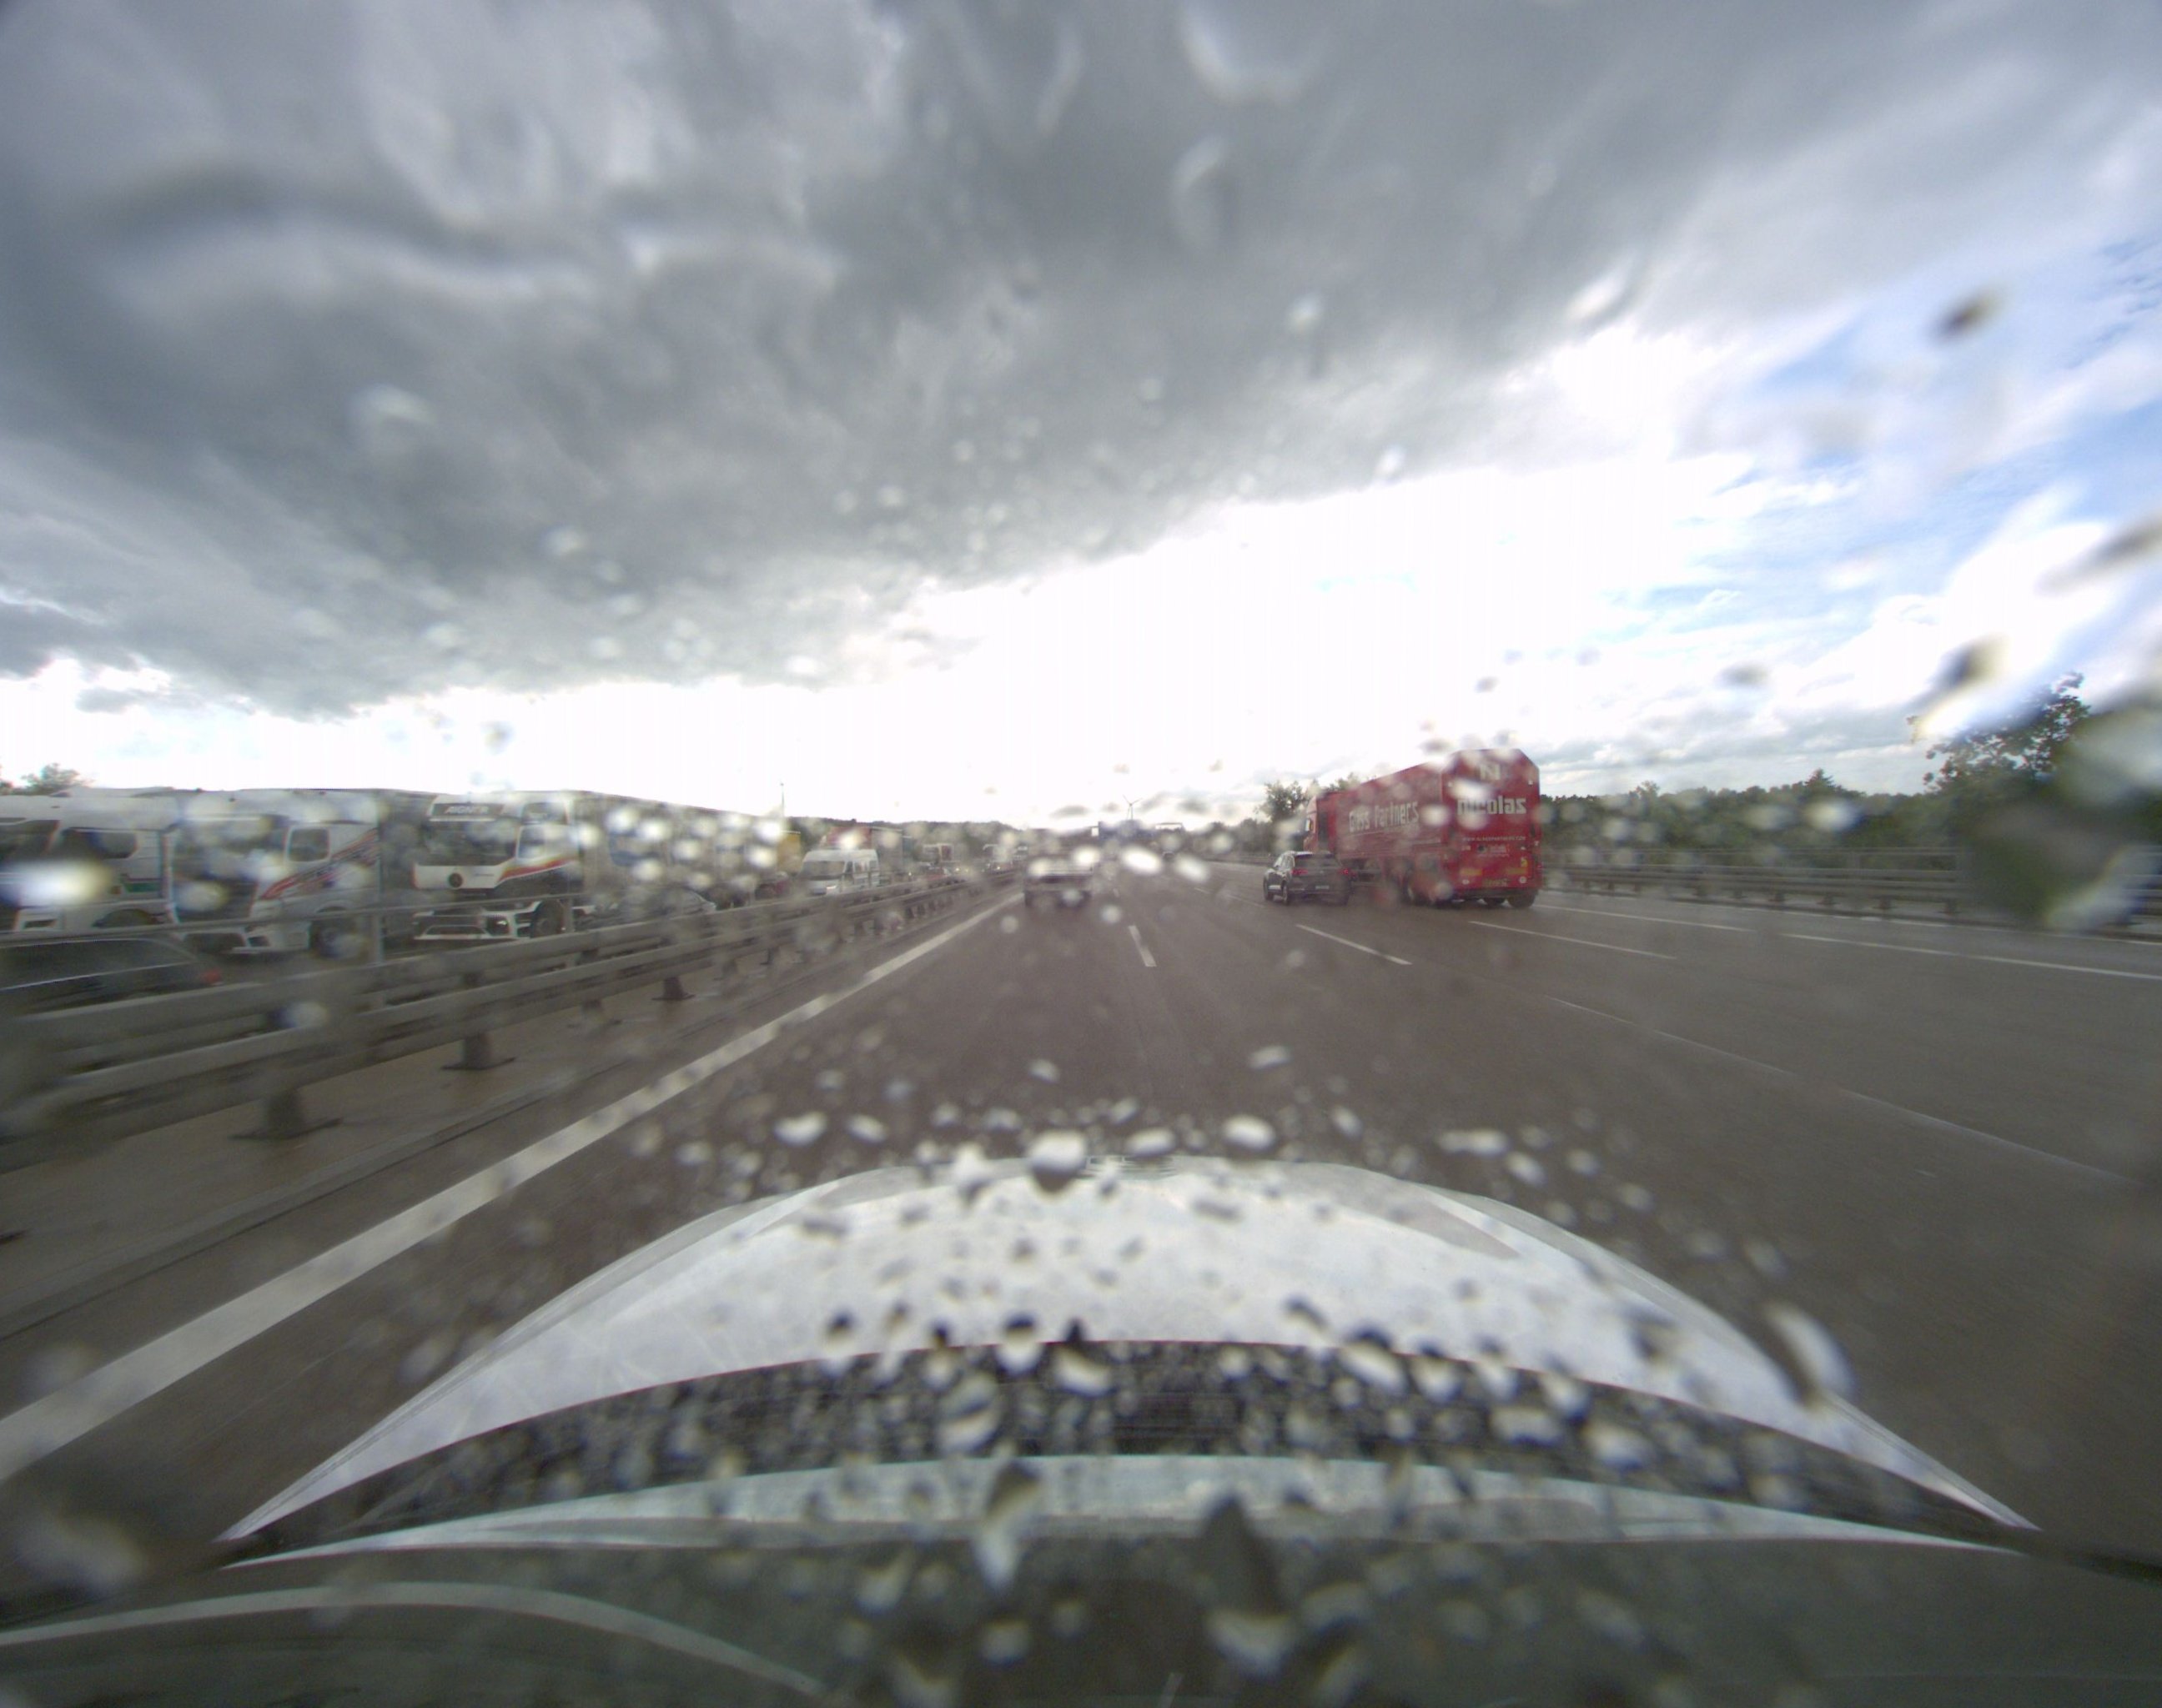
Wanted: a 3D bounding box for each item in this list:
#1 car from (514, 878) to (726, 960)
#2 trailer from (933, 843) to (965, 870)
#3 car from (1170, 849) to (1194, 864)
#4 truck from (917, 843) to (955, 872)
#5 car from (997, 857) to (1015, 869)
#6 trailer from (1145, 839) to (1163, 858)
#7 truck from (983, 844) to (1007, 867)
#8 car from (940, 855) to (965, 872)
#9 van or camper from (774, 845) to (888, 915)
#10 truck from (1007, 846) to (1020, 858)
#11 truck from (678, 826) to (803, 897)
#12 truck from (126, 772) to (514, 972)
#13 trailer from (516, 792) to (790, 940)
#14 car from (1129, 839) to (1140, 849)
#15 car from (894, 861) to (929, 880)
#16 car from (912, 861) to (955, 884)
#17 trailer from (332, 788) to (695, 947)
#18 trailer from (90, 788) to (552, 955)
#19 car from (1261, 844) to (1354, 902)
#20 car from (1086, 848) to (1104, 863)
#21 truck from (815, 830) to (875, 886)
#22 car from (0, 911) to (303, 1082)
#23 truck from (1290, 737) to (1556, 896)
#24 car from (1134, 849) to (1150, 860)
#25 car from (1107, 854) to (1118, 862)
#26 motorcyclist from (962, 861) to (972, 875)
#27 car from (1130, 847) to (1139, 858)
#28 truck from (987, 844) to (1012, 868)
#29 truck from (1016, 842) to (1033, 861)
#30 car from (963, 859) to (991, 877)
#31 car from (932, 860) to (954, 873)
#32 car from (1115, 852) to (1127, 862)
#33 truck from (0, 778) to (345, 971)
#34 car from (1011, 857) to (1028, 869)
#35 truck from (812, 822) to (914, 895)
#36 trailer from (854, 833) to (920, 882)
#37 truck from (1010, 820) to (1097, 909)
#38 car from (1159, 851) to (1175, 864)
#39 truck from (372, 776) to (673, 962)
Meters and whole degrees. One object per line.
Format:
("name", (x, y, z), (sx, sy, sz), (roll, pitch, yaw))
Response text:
("car", (-10.436, 1.397, 19.040), (1.916, 1.419, 5.165), (-2, 0, 1))
("trailer", (-20.362, 0.367, 126.409), (3.206, 3.959, 8.854), (-1, 0, 2))
("car", (12.013, 0.283, 97.082), (2.099, 1.605, 5.064), (-1, 0, -1))
("truck", (-20.735, 0.452, 116.853), (3.213, 3.910, 10.287), (-1, 0, 2))
("car", (-8.858, 1.040, 96.650), (1.567, 1.354, 4.386), (-2, 0, 2))
("trailer", (16.025, -1.181, 179.174), (3.319, 4.175, 11.846), (-1, 0, 3))
("truck", (-14.867, 0.279, 141.199), (3.187, 3.933, 7.578), (-1, 0, 2))
("car", (-13.199, 0.984, 83.882), (1.758, 1.624, 4.779), (-2, 0, -1))
("van or camper", (-10.072, 0.953, 33.657), (2.270, 2.496, 7.303), (-2, 0, 1))
("truck", (-17.334, -0.422, 208.563), (2.508, 2.986, 7.023), (-2, 0, 1))
("truck", (-21.582, 0.422, 52.713), (2.710, 3.982, 11.699), (-2, 0, 2))
("truck", (-18.590, 0.371, 20.781), (2.892, 4.147, 7.106), (-2, 0, 2))
("trailer", (-14.617, 0.321, 29.885), (2.870, 4.145, 13.029), (-2, 0, 1))
("car", (10.164, -1.878, 155.545), (1.986, 1.897, 4.193), (-1, 0, 2))
("car", (-14.034, 1.329, 67.607), (1.825, 1.451, 4.002), (-2, 0, 2))
("car", (-10.059, 1.235, 55.989), (1.916, 1.419, 5.012), (-2, 0, 1))
("trailer", (-18.265, 0.353, 28.275), (2.869, 4.145, 13.036), (-2, 0, 3))
("trailer", (-22.585, 0.414, 26.061), (2.747, 3.993, 12.313), (-2, 0, 2))
("car", (6.605, 0.531, 24.103), (1.786, 1.562, 3.723), (-1, 0, 1))
("car", (1.740, 0.188, 97.201), (2.037, 1.699, 4.002), (-1, 0, 2))
("truck", (-17.483, 0.290, 60.721), (2.834, 4.029, 4.965), (-1, 0, 2))
("car", (-11.116, 1.468, 7.794), (2.008, 1.387, 5.460), (-2, 0, 1))
("truck", (10.786, -1.004, 28.700), (3.141, 4.003, 15.642), (-1, 0, 2))
("car", (9.682, 0.032, 129.896), (2.091, 1.699, 3.999), (-1, 0, -1))
("car", (6.282, 0.798, 164.303), (1.966, 1.699, 3.999), (-1, 0, -1))
("motorcyclist", (-11.304, 1.386, 80.599), (0.725, 1.341, 1.030), (-2, 0, 2))
("car", (12.228, -0.366, 187.003), (2.037, 2.498, 4.002), (-1, 0, 2))
("truck", (-12.257, 0.232, 123.843), (2.510, 3.399, 8.545), (-2, 0, 2))
("truck", (-13.489, -0.625, 193.770), (3.166, 4.194, 7.740), (-2, 0, 1))
("car", (-9.633, 1.279, 75.662), (1.825, 1.451, 4.002), (-2, 0, 2))
("car", (-16.463, 1.480, 97.405), (1.661, 1.354, 4.220), (-2, 0, 2))
("car", (7.274, 0.584, 147.434), (2.038, 1.699, 4.001), (-1, 0, 1))
("truck", (-22.840, 0.447, 20.272), (2.748, 3.993, 6.580), (-2, 0, 2))
("car", (-8.664, 1.211, 114.322), (1.713, 1.502, 5.505), (-2, 0, 2))
("truck", (-13.862, 0.244, 53.296), (2.973, 4.149, 12.524), (-2, 0, 1))
("trailer", (-17.118, 0.291, 72.917), (2.807, 4.061, 11.607), (-1, 0, 2))
("truck", (-0.788, 0.252, 25.921), (2.346, 2.408, 7.355), (-1, 0, -1))
("car", (12.727, 0.500, 120.931), (2.037, 1.699, 5.009), (-1, 0, 2))
("truck", (-14.730, 0.340, 22.488), (2.871, 4.180, 7.558), (-2, 0, 1))
